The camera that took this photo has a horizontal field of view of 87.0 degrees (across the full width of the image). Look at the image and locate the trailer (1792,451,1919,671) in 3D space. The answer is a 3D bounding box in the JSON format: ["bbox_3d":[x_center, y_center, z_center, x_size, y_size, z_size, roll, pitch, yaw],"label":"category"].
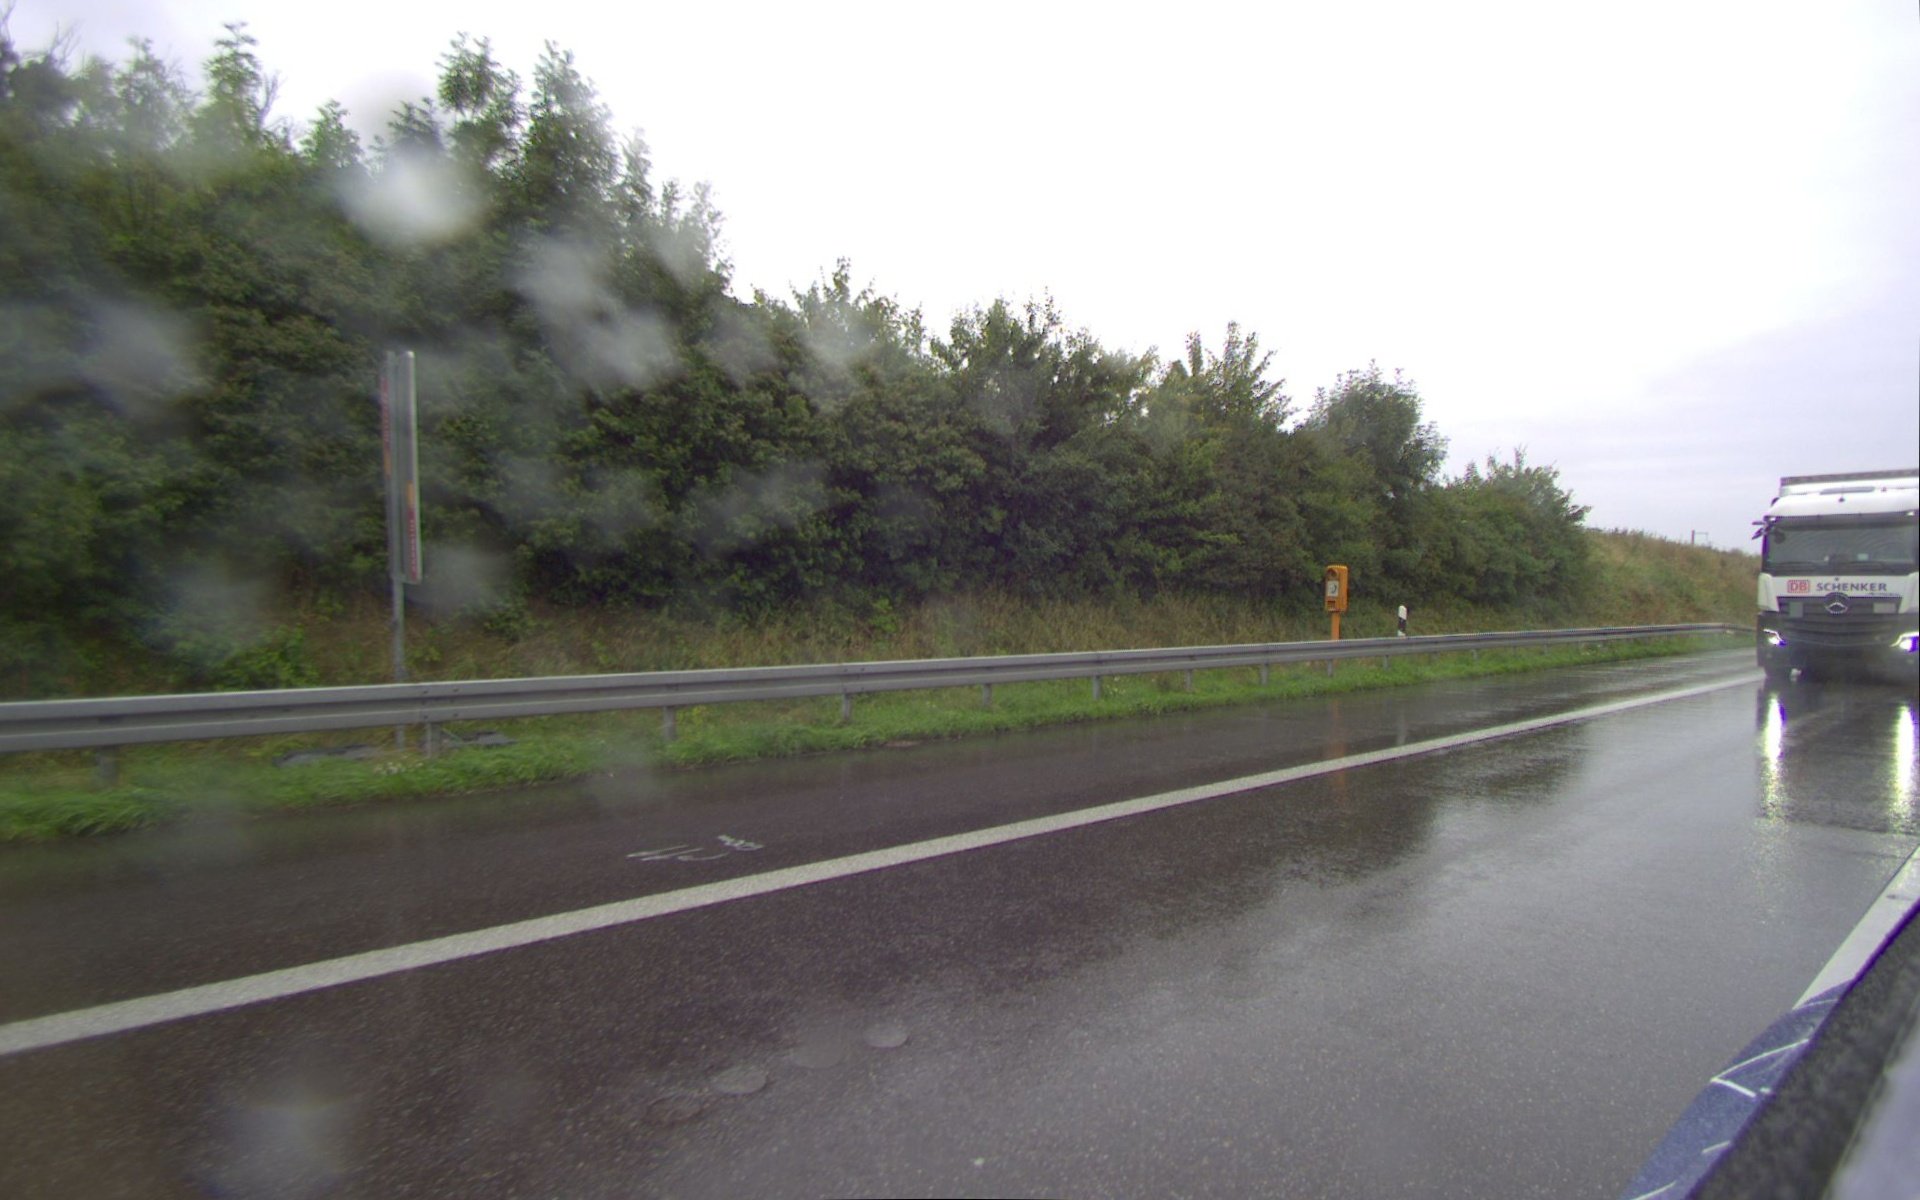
[{"bbox_3d":[23.657,-0.815,24.849,13.927,4.302,2.631,-1,0,-41],"label":"trailer"}]

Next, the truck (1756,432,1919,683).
[{"bbox_3d":[17.721,-0.753,19.707,4.955,4.307,2.630,0,0,-41],"label":"truck"}]
